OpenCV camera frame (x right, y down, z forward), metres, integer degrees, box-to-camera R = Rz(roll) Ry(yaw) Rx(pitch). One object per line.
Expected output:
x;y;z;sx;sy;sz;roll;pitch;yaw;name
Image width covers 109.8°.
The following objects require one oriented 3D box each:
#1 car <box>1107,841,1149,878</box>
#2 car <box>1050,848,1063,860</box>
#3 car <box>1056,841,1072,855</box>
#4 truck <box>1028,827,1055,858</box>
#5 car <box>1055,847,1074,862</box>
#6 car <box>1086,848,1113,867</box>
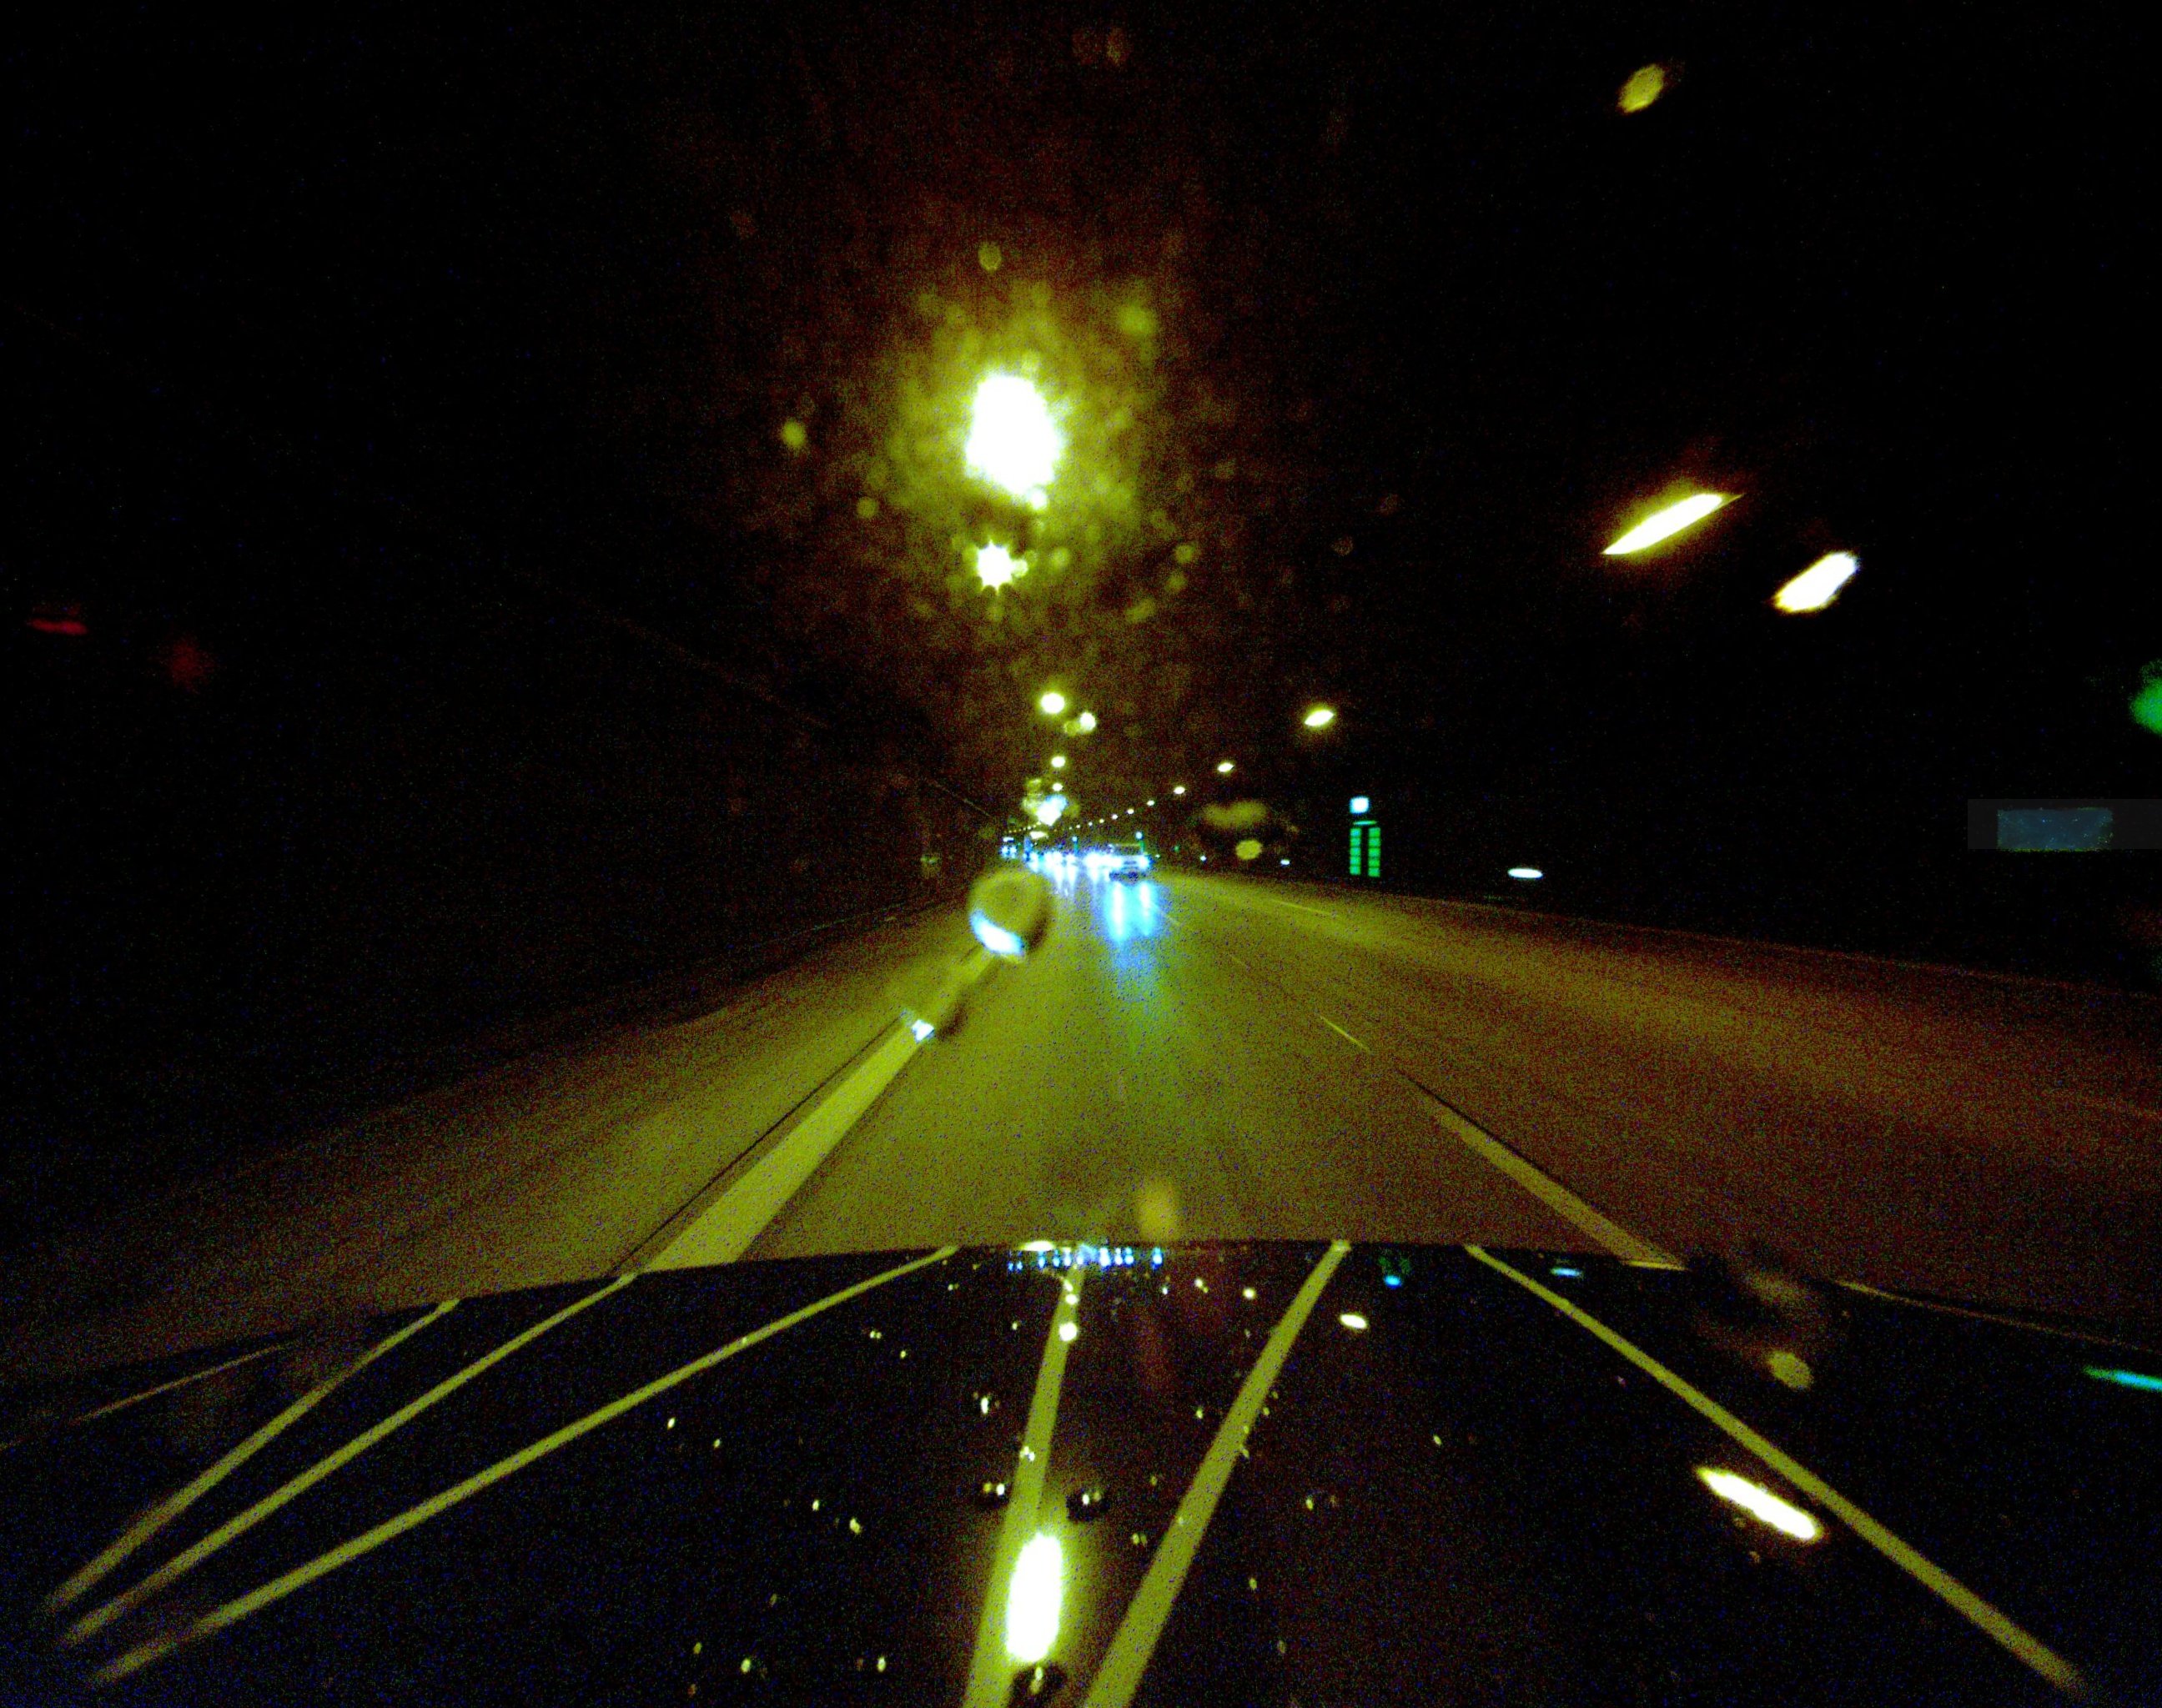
2.697;0.300;44.664;1.999;2.002;4.359;-2;0;-2;car
-4.134;-0.071;129.128;1.999;1.810;3.996;-2;3;-5;car
-2.601;-0.931;115.595;2.000;2.003;3.995;-2;3;-6;car
-5.658;-1.762;108.639;3.144;4.137;7.380;-2;2;-8;truck
-1.815;0.078;83.993;1.759;1.567;3.997;-1;0;-6;car
1.603;0.290;66.995;1.911;1.638;3.998;-1;0;-4;car
